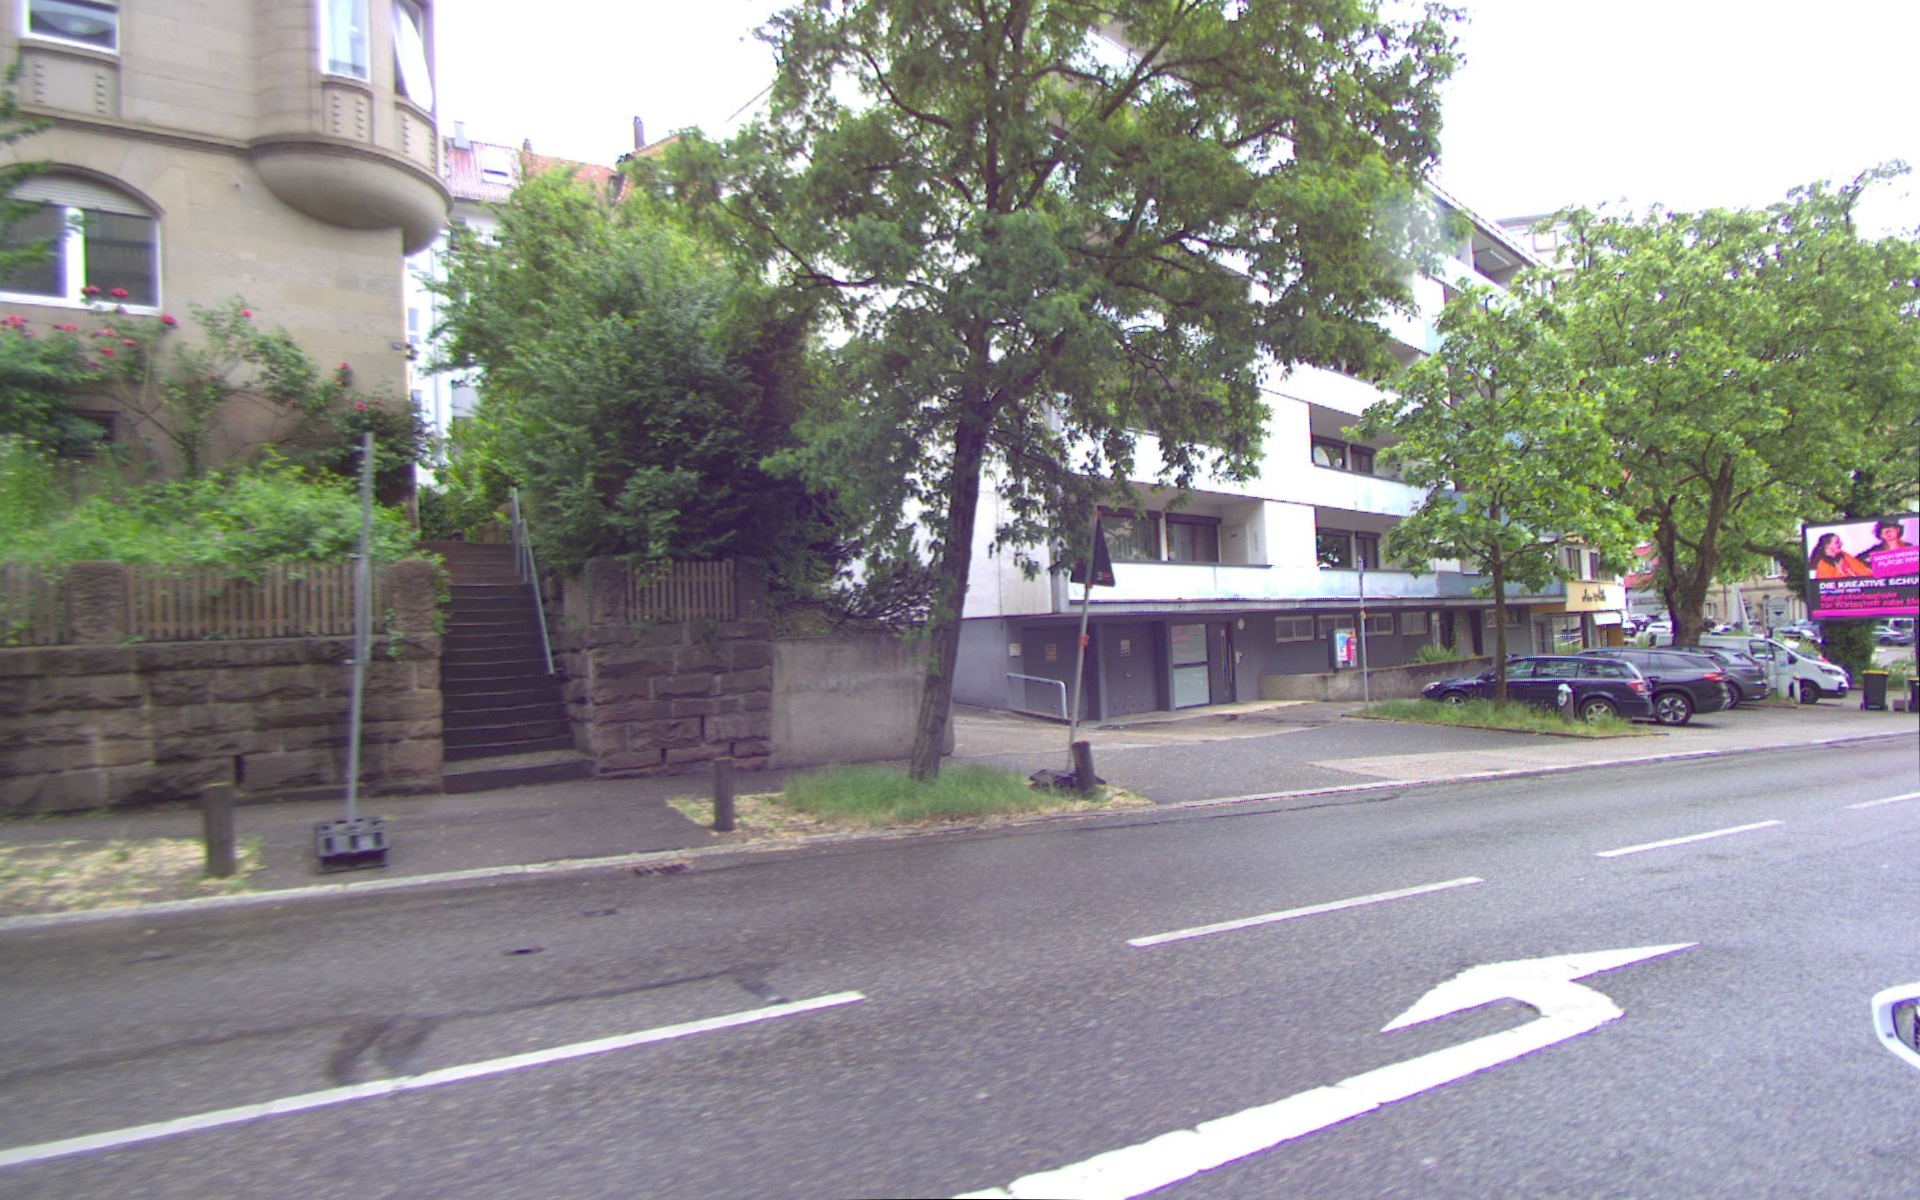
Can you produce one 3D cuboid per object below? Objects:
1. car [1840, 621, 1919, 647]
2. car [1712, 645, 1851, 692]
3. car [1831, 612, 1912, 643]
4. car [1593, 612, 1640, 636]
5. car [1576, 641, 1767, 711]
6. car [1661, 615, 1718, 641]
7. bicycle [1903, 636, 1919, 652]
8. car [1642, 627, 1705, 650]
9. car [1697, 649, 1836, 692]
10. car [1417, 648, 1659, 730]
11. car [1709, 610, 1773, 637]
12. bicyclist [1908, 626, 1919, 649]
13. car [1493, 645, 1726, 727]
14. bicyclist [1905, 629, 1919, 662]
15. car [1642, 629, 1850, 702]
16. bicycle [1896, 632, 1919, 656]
[{"bbox_3d":[63.571,2.337,68.719,1.972,1.599,4.627,2,-1,-24],"label":"car"},{"bbox_3d":[31.739,2.620,38.980,4.071,1.675,1.762,-1,-3,38],"label":"car"},{"bbox_3d":[66.007,1.962,72.827,1.961,2.130,4.291,0,0,-1],"label":"car"},{"bbox_3d":[57.536,2.129,88.098,1.545,2.040,4.001,0,-2,2],"label":"car"},{"bbox_3d":[20.195,2.094,28.604,4.304,1.807,1.931,-1,-3,40],"label":"car"},{"bbox_3d":[65.455,2.500,90.239,1.961,2.130,4.291,0,0,-1],"label":"car"},{"bbox_3d":[54.794,2.536,57.381,1.495,0.870,0.574,2,0,-12],"label":"bicycle"},{"bbox_3d":[57.175,3.083,80.563,1.961,1.749,4.250,-2,-1,-1],"label":"car"},{"bbox_3d":[29.878,2.584,37.328,3.925,1.469,1.761,-1,-3,40],"label":"car"},{"bbox_3d":[12.513,1.881,21.870,4.303,1.594,1.936,-3,-4,38],"label":"car"},{"bbox_3d":[65.773,1.936,84.682,1.961,2.130,4.291,0,0,-1],"label":"car"},{"bbox_3d":[54.728,2.121,57.366,0.677,1.289,0.570,2,0,-9],"label":"bicyclist"},{"bbox_3d":[14.868,1.929,23.105,4.312,1.694,1.848,-3,-4,38],"label":"car"},{"bbox_3d":[54.644,2.590,57.265,0.756,1.844,0.784,0,-3,-7],"label":"bicyclist"},{"bbox_3d":[24.530,1.989,31.545,5.000,2.132,1.983,-1,-3,40],"label":"car"},{"bbox_3d":[54.748,2.504,57.261,2.233,1.337,0.673,0,-3,-7],"label":"bicycle"}]
